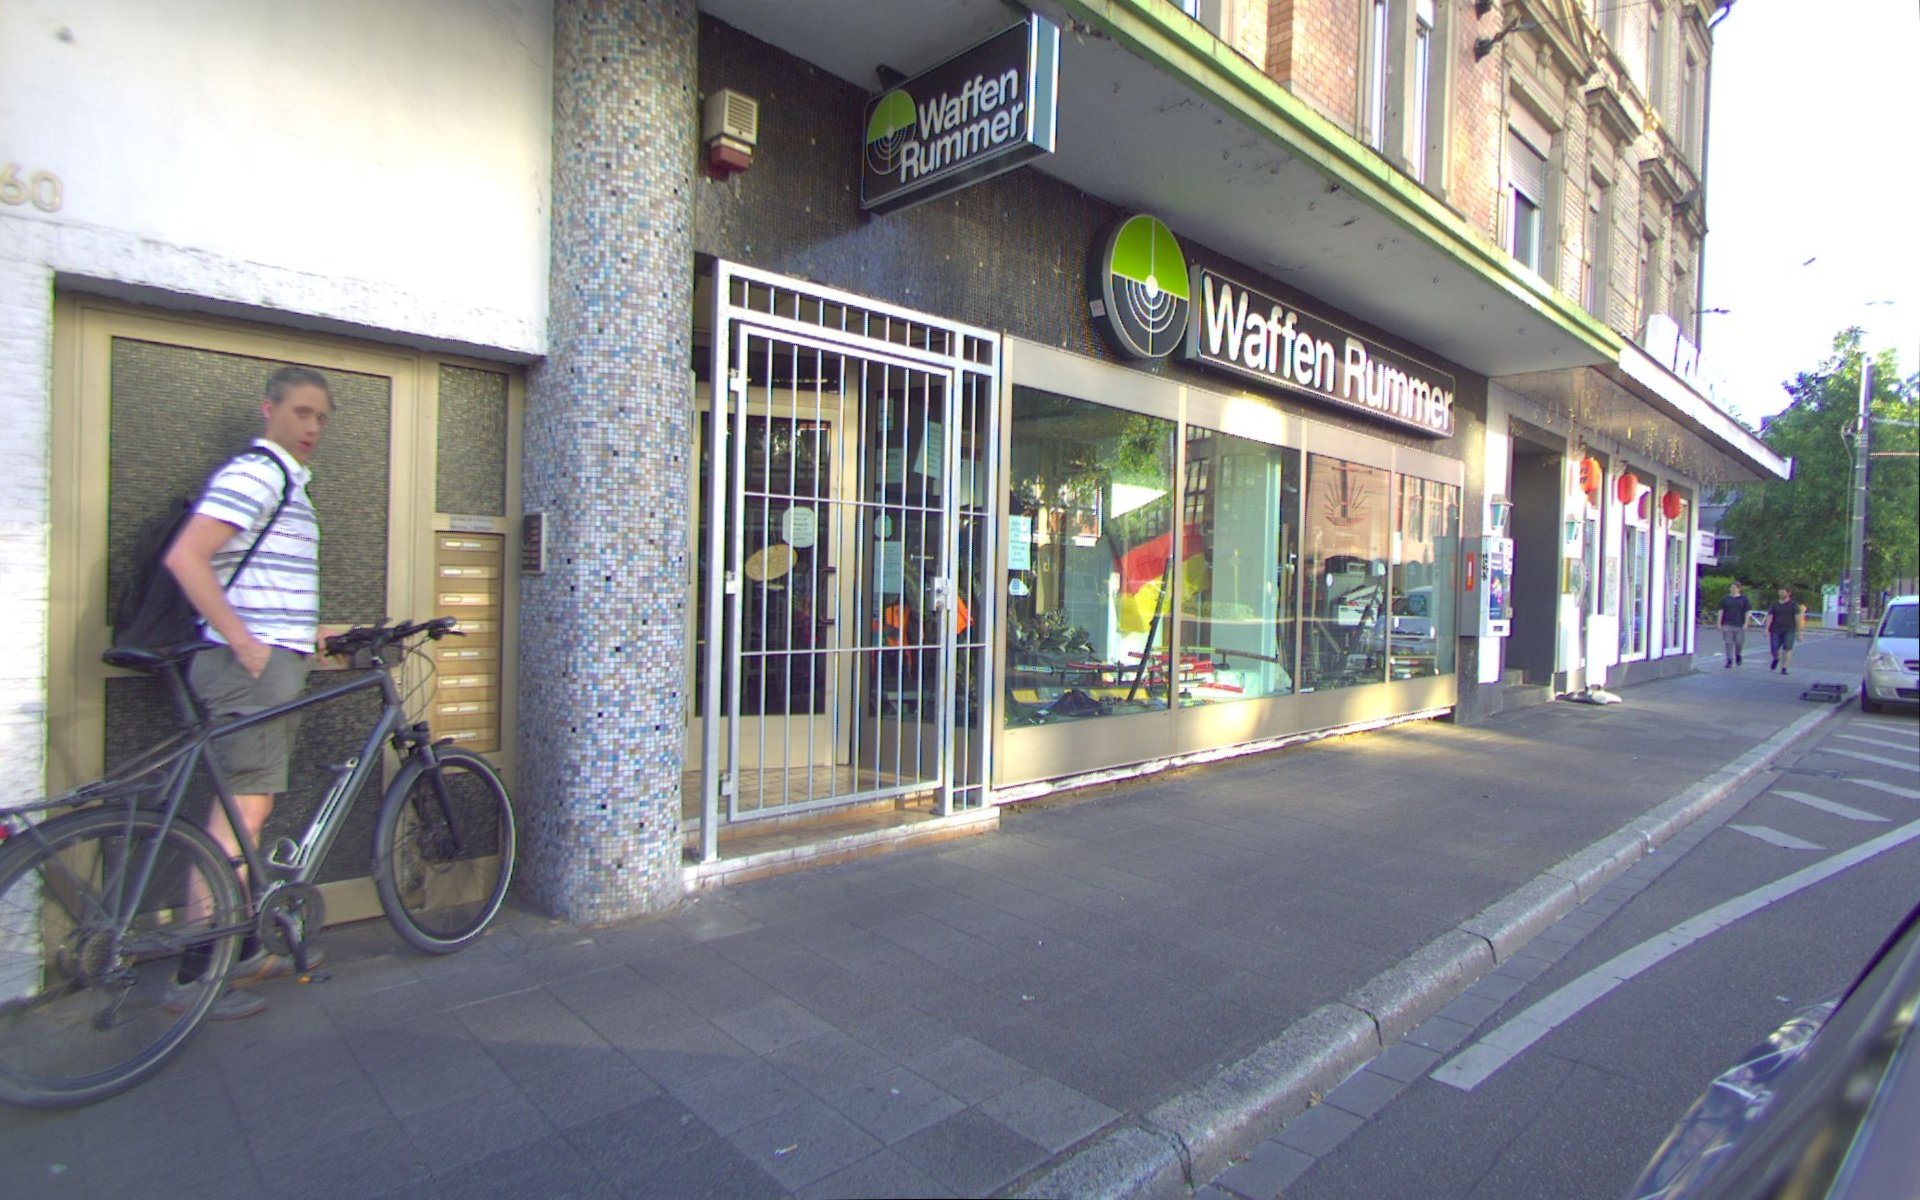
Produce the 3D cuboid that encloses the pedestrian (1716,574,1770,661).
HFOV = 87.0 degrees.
[{"bbox_3d":[16.333,0.359,21.107,0.669,1.744,0.700,1,3,-42],"label":"pedestrian"}]

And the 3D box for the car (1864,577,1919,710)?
[{"bbox_3d":[13.974,0.572,14.013,3.930,1.705,1.670,0,1,-41],"label":"car"}]

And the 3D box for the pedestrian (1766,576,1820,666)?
[{"bbox_3d":[16.739,0.409,20.342,0.494,1.744,0.700,1,3,-42],"label":"pedestrian"}]

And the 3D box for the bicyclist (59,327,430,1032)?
[{"bbox_3d":[-2.209,0.203,3.184,0.592,1.905,0.739,2,1,20],"label":"bicyclist"}]

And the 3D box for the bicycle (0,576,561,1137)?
[{"bbox_3d":[-2.204,0.570,3.204,0.660,1.269,1.883,2,1,20],"label":"bicycle"}]
